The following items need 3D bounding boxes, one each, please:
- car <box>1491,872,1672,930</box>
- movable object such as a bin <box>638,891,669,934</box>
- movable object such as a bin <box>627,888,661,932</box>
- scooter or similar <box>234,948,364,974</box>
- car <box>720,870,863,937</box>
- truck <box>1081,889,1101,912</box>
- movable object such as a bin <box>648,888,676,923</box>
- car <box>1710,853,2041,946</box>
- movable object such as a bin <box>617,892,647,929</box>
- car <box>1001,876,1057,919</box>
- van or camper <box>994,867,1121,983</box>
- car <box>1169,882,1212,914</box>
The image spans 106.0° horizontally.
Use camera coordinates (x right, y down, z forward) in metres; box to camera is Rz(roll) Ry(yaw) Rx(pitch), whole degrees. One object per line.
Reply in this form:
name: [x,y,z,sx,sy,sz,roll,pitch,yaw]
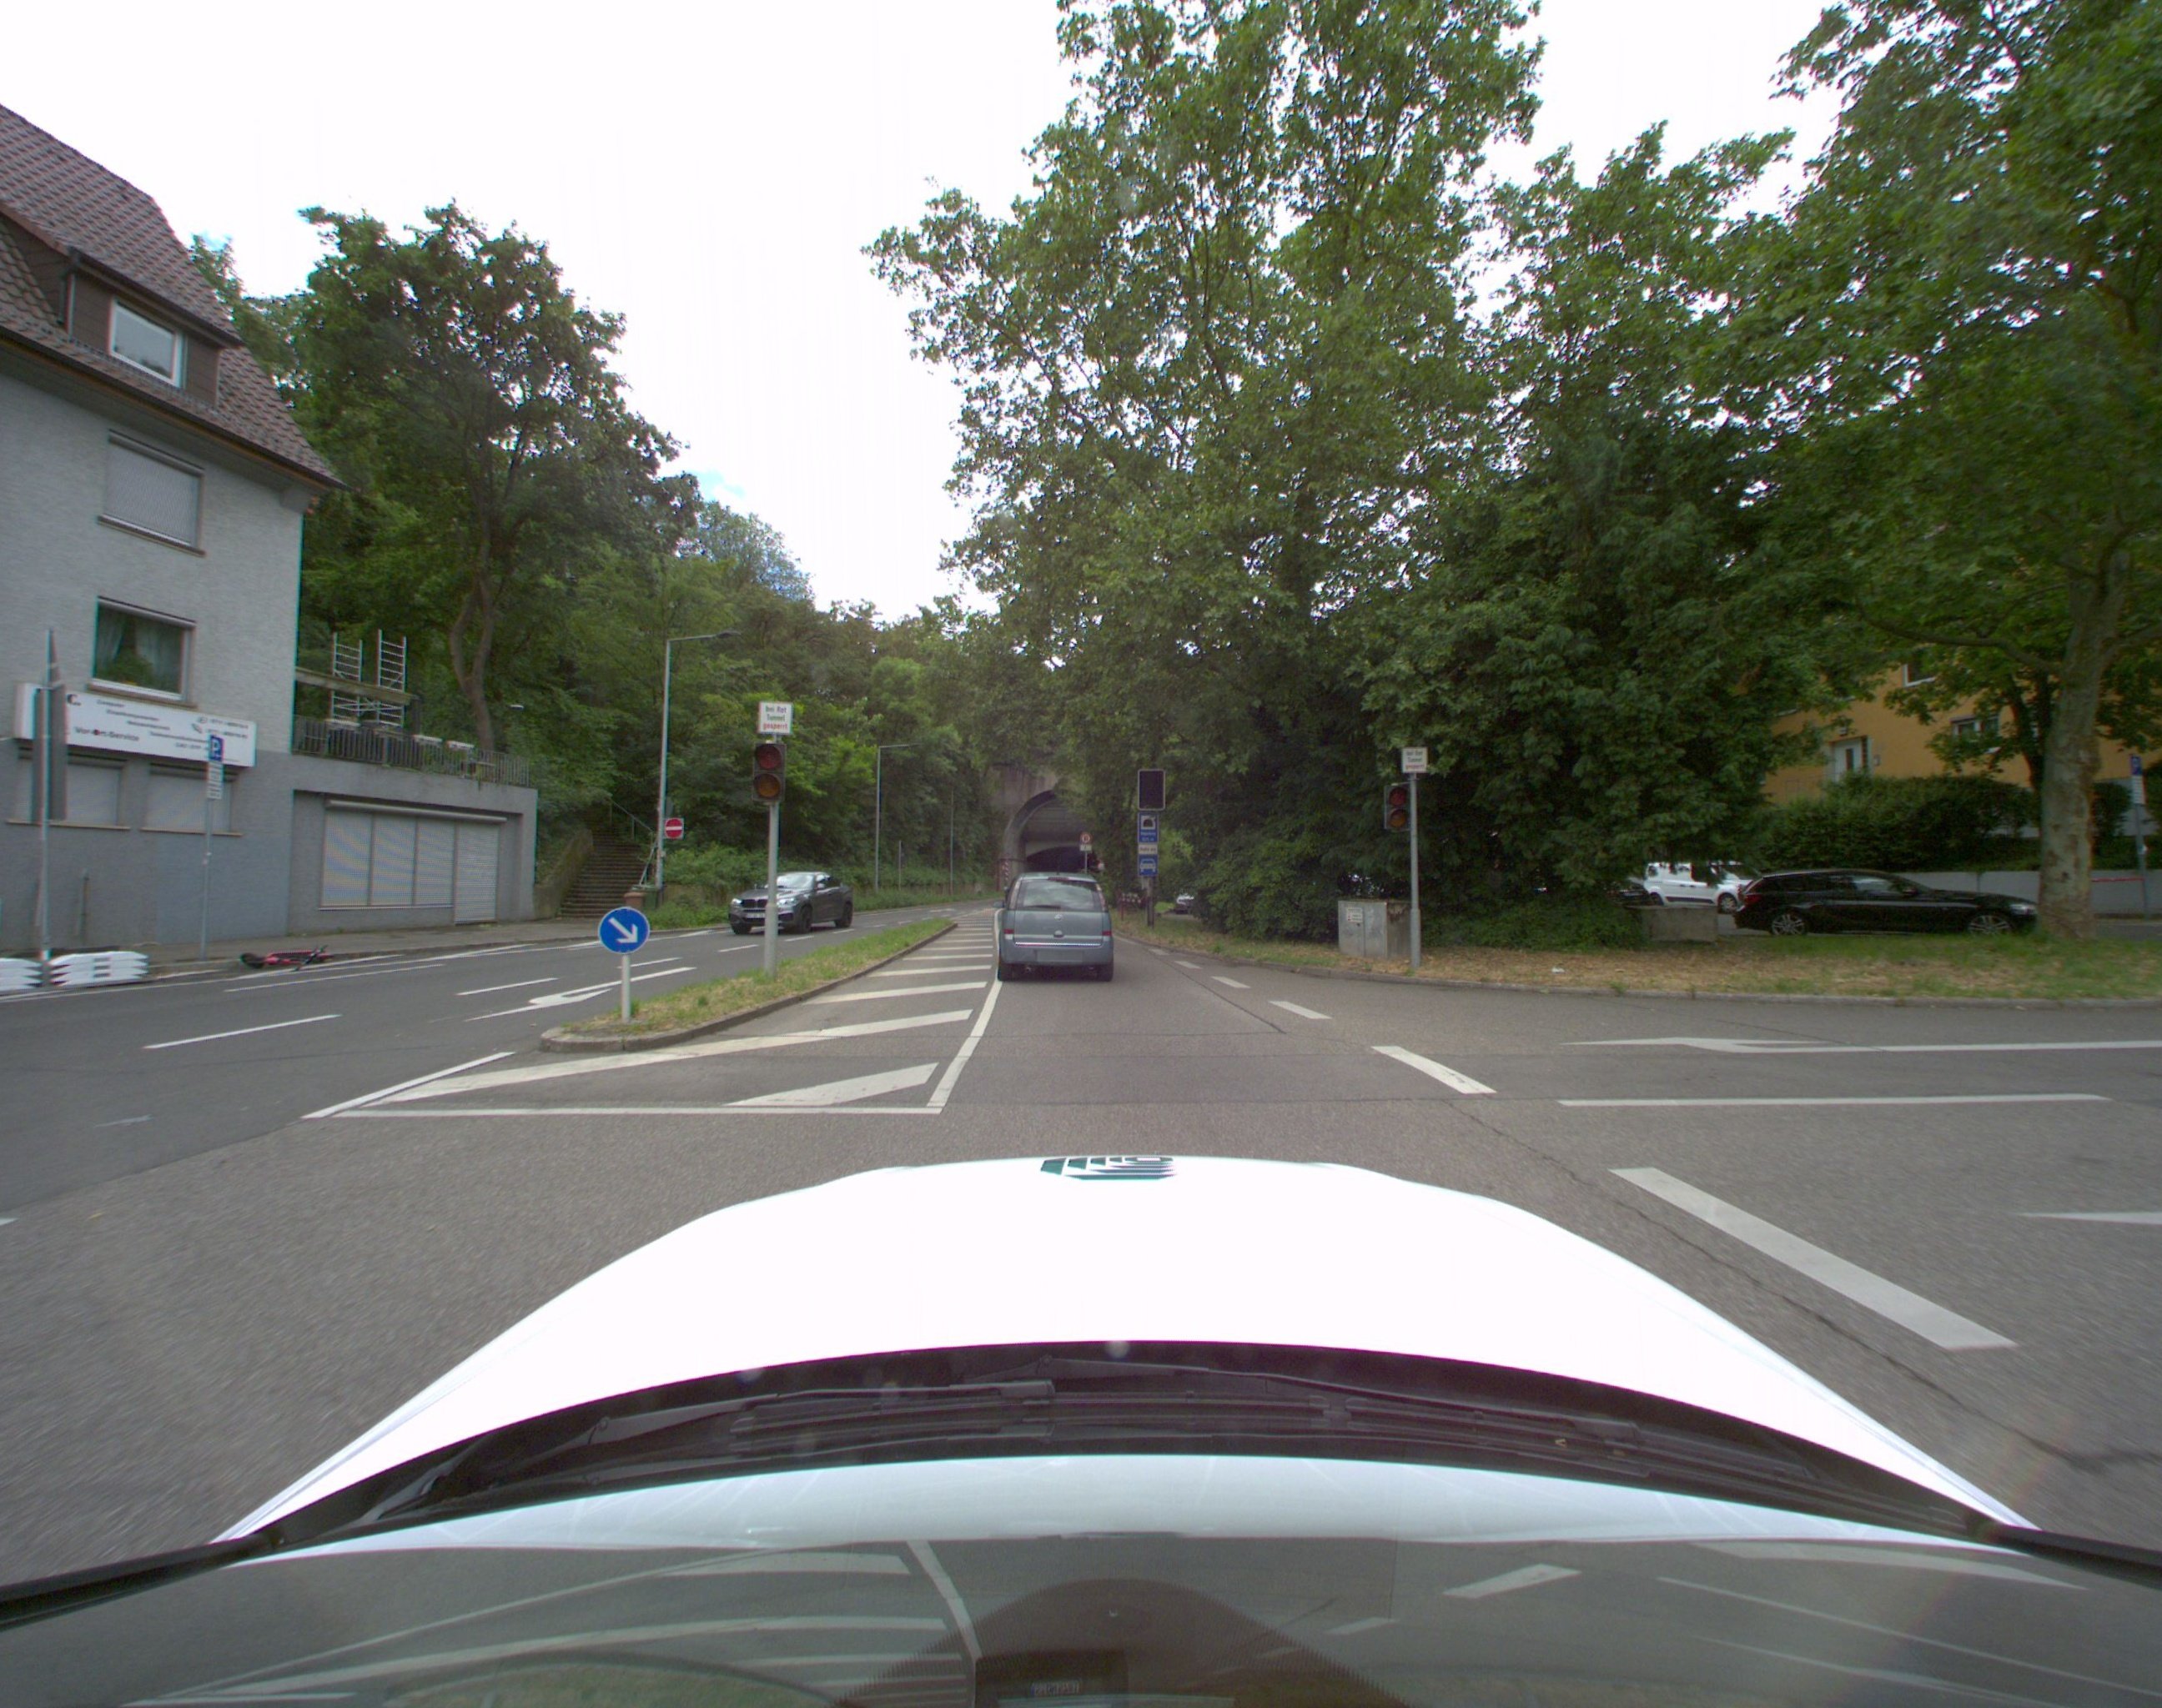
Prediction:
car: [15.170,1.376,25.084,1.994,1.578,4.887,-1,-2,-10]
movable object such as a bin: [-12.196,1.656,23.234,0.580,1.186,0.429,3,-2,-6]
movable object such as a bin: [-12.173,1.555,22.688,0.604,1.186,0.491,3,-2,-6]
scooter or similar: [-13.079,1.791,13.667,1.122,0.288,1.097,-1,-2,-6]
car: [-7.961,1.313,22.994,1.860,1.699,4.943,0,-2,6]
truck: [1.741,7.759,136.176,2.663,3.667,7.525,0,-2,5]
movable object such as a bin: [-12.548,1.540,24.414,0.555,1.025,0.430,3,-2,-6]
car: [15.309,0.946,16.074,4.369,1.485,1.874,-6,-3,41]
movable object such as a bin: [-12.197,1.523,22.131,0.515,0.967,0.443,3,-2,-6]
car: [-2.071,1.773,33.489,1.987,1.653,3.998,-1,-3,0]
van or camper: [-0.482,1.052,13.022,1.733,1.578,3.638,1,-3,-5]
car: [5.449,2.165,41.018,1.777,1.442,5.067,-1,-2,4]
